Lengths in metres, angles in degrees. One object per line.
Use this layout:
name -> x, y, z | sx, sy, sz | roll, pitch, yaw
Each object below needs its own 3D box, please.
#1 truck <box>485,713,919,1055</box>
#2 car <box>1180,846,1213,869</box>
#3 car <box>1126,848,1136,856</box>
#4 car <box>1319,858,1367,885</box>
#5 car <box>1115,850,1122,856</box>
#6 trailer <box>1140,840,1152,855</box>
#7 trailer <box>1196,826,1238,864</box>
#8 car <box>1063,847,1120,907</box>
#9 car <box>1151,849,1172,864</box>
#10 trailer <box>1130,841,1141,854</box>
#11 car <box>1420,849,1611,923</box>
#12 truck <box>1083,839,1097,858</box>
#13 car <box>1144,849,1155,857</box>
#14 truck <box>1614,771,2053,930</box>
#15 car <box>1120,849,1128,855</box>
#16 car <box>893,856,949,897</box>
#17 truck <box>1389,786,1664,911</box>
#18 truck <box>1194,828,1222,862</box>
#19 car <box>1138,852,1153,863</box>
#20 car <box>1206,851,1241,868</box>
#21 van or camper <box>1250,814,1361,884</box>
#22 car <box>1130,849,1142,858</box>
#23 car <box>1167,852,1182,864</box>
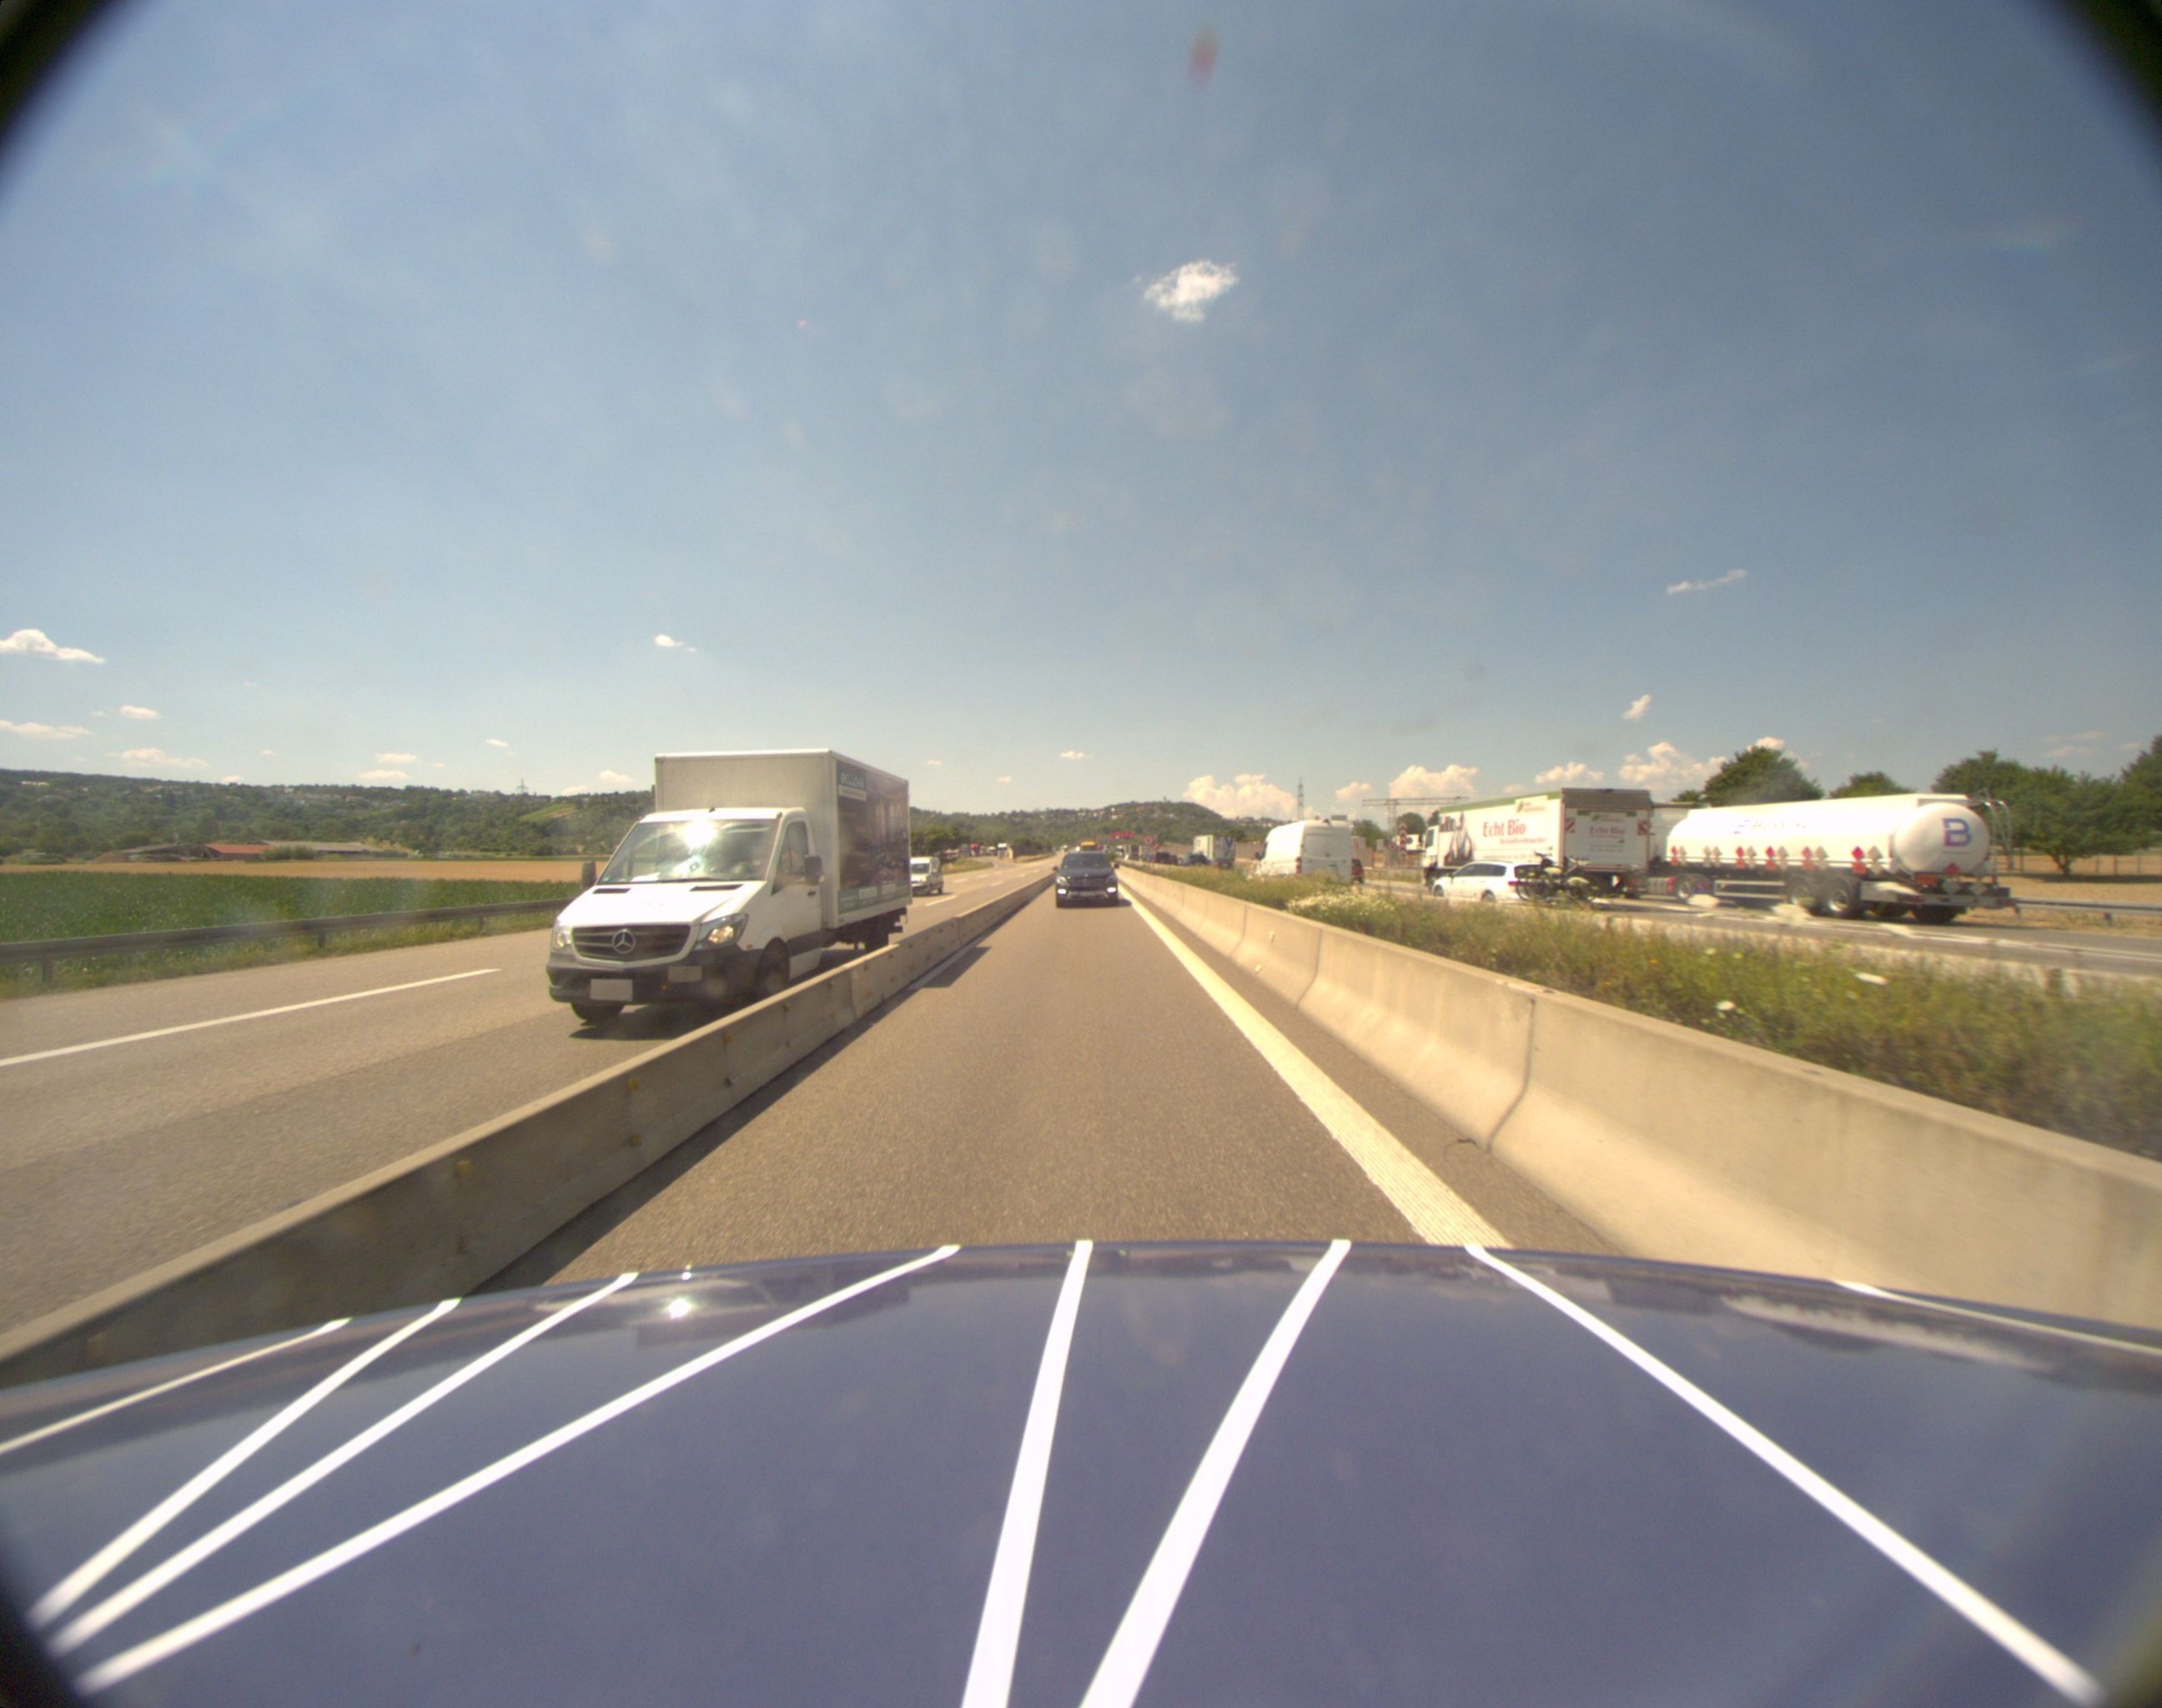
truck -> -4.192, 0.305, 10.326 | 2.326, 3.049, 6.751 | -2, 0, 1
car -> 8.457, 0.227, 56.029 | 1.786, 1.580, 4.541 | -1, 0, 1
car -> 10.352, -0.369, 157.432 | 1.679, 1.510, 4.507 | -1, 1, 1
car -> 15.880, 1.016, 46.257 | 1.566, 1.507, 3.937 | -1, 0, 1
car -> 11.291, -0.320, 228.061 | 1.998, 1.749, 4.644 | -1, 0, 1
trailer -> 17.862, -1.816, 209.475 | 2.654, 3.851, 6.616 | 0, 1, 1
trailer -> 16.660, -1.060, 94.007 | 2.900, 4.349, 12.992 | 1, 0, 1
car -> 0.360, 0.691, 24.368 | 1.630, 1.711, 3.865 | -2, 0, 1
car -> 8.969, 0.220, 84.601 | 1.848, 1.560, 5.344 | -1, 0, 1
trailer -> 18.930, -2.312, 264.869 | 2.991, 4.043, 15.161 | -1, 1, 1
car -> 11.373, 0.739, 20.484 | 1.891, 1.700, 5.521 | 1, 0, -1
truck -> 1.531, -0.957, 131.719 | 2.272, 3.139, 8.186 | -2, 1, 1
car -> 13.526, -0.261, 149.816 | 1.816, 1.477, 4.962 | 0, 1, 1
truck -> 22.723, -0.090, 24.934 | 2.904, 3.755, 13.298 | 2, 0, 9
car -> 10.779, -0.491, 190.946 | 1.659, 1.510, 3.999 | -1, 1, 1
car -> -7.308, 0.988, 35.058 | 1.630, 1.726, 3.973 | -2, 0, 1
truck -> 15.705, -0.175, 28.851 | 2.801, 3.588, 13.289 | 1, 0, 1
truck -> 16.735, -1.143, 100.687 | 2.878, 4.350, 4.902 | 1, 1, 1
car -> 8.255, 0.482, 97.502 | 1.659, 1.344, 4.266 | -1, 0, 1
car -> 12.070, 0.437, 64.543 | 2.019, 1.378, 5.085 | 0, 0, 0
van or camper -> 8.176, -0.169, 28.545 | 2.040, 2.208, 7.208 | -2, 0, 0
car -> 9.603, -0.124, 133.105 | 1.895, 1.608, 4.820 | -1, 1, 1
car -> 13.070, 0.530, 106.474 | 1.659, 1.642, 4.665 | -1, 0, 1
